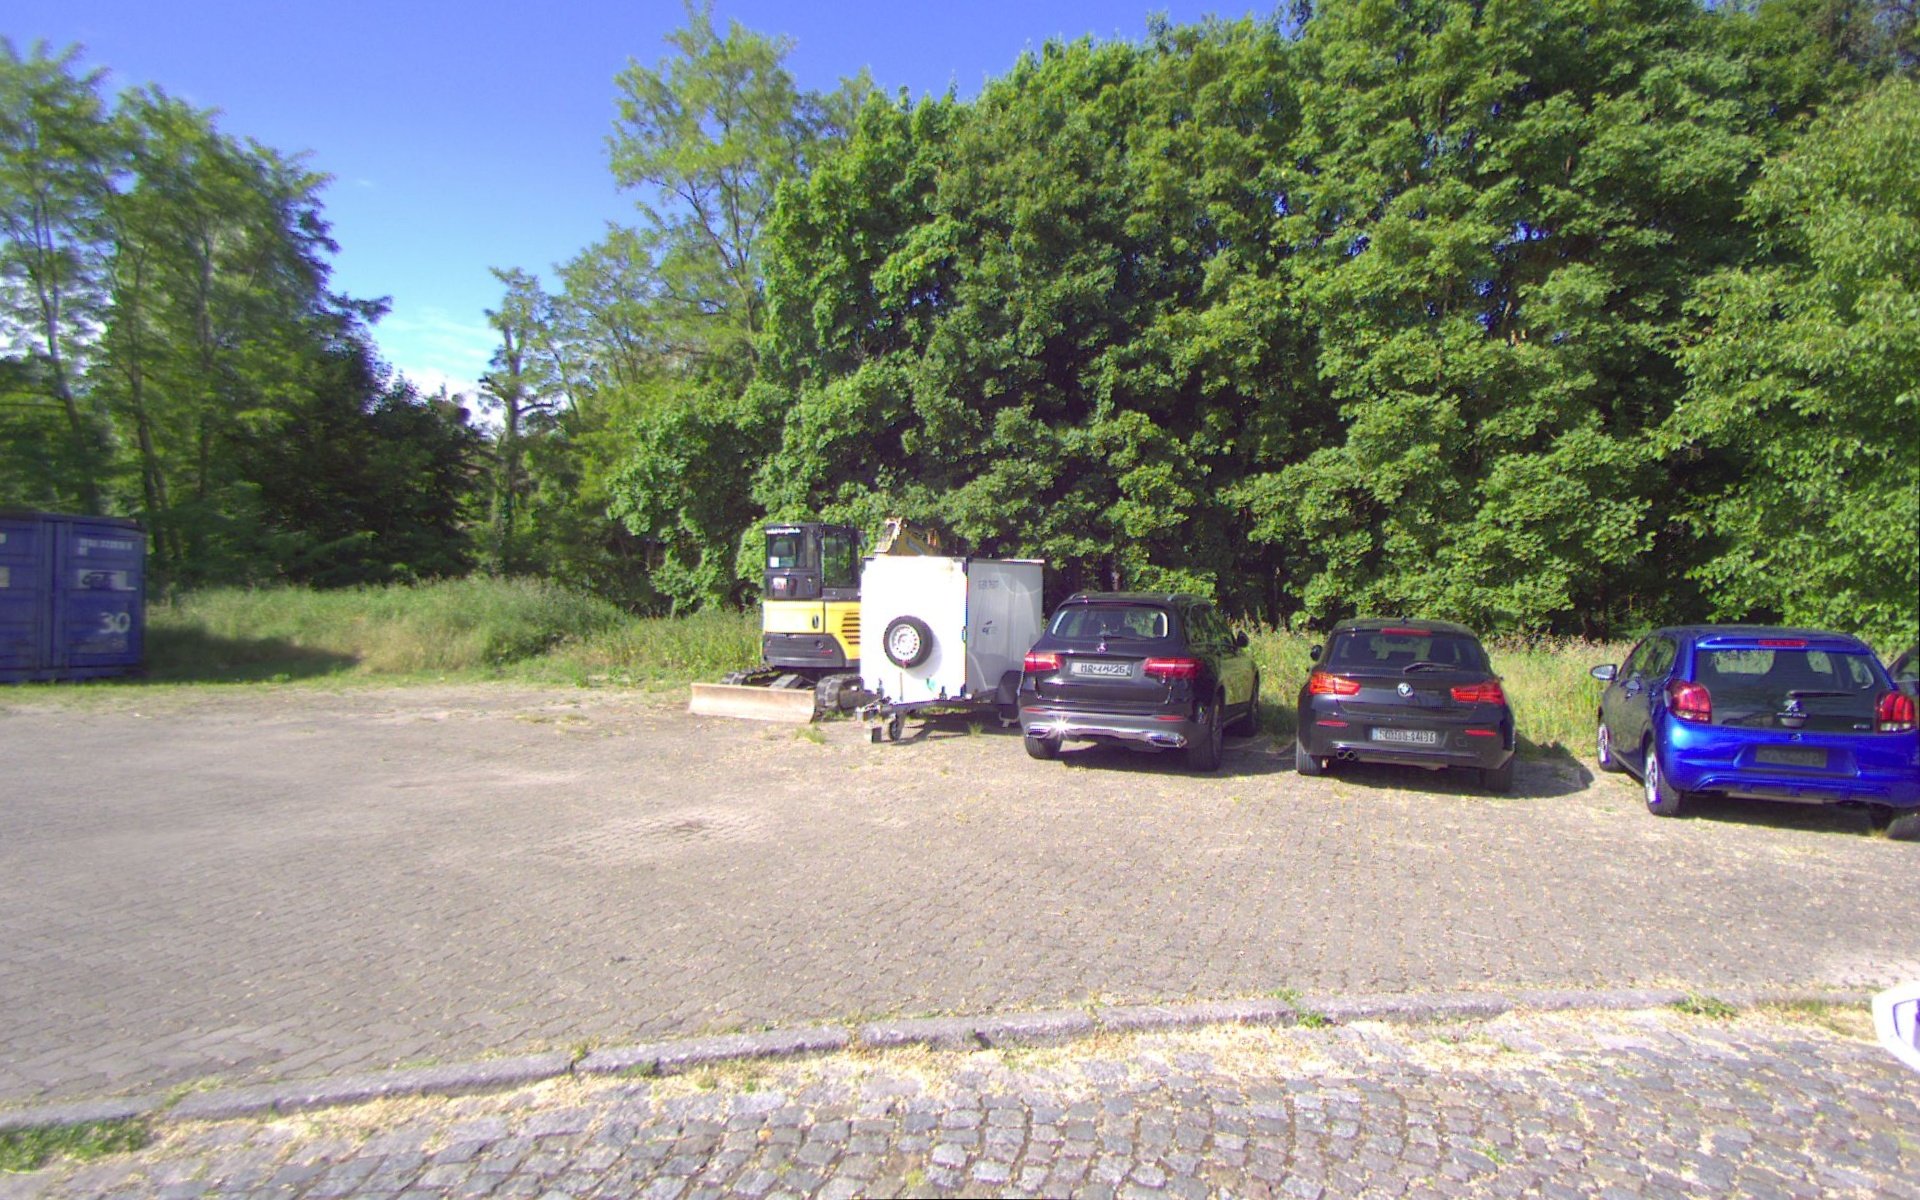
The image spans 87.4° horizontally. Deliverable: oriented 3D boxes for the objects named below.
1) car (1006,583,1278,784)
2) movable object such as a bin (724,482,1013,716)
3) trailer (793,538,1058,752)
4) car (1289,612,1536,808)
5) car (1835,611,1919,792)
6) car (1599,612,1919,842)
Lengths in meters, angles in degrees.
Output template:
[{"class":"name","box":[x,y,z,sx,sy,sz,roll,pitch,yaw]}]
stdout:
[{"class":"car","box":[2.068,0.716,10.443,1.833,1.663,3.817,1,-1,25]},{"class":"movable object such as a bin","box":[-1.163,0.041,15.670,1.963,3.005,5.158,1,-1,28]},{"class":"trailer","box":[-0.225,0.436,12.111,1.608,2.122,3.970,1,1,24]},{"class":"car","box":[4.319,0.878,9.753,1.799,1.470,3.661,1,-1,24]},{"class":"car","box":[9.405,0.920,8.939,1.648,1.536,3.545,2,1,28]},{"class":"car","box":[6.777,0.881,8.659,1.682,1.513,3.660,1,0,26]}]
